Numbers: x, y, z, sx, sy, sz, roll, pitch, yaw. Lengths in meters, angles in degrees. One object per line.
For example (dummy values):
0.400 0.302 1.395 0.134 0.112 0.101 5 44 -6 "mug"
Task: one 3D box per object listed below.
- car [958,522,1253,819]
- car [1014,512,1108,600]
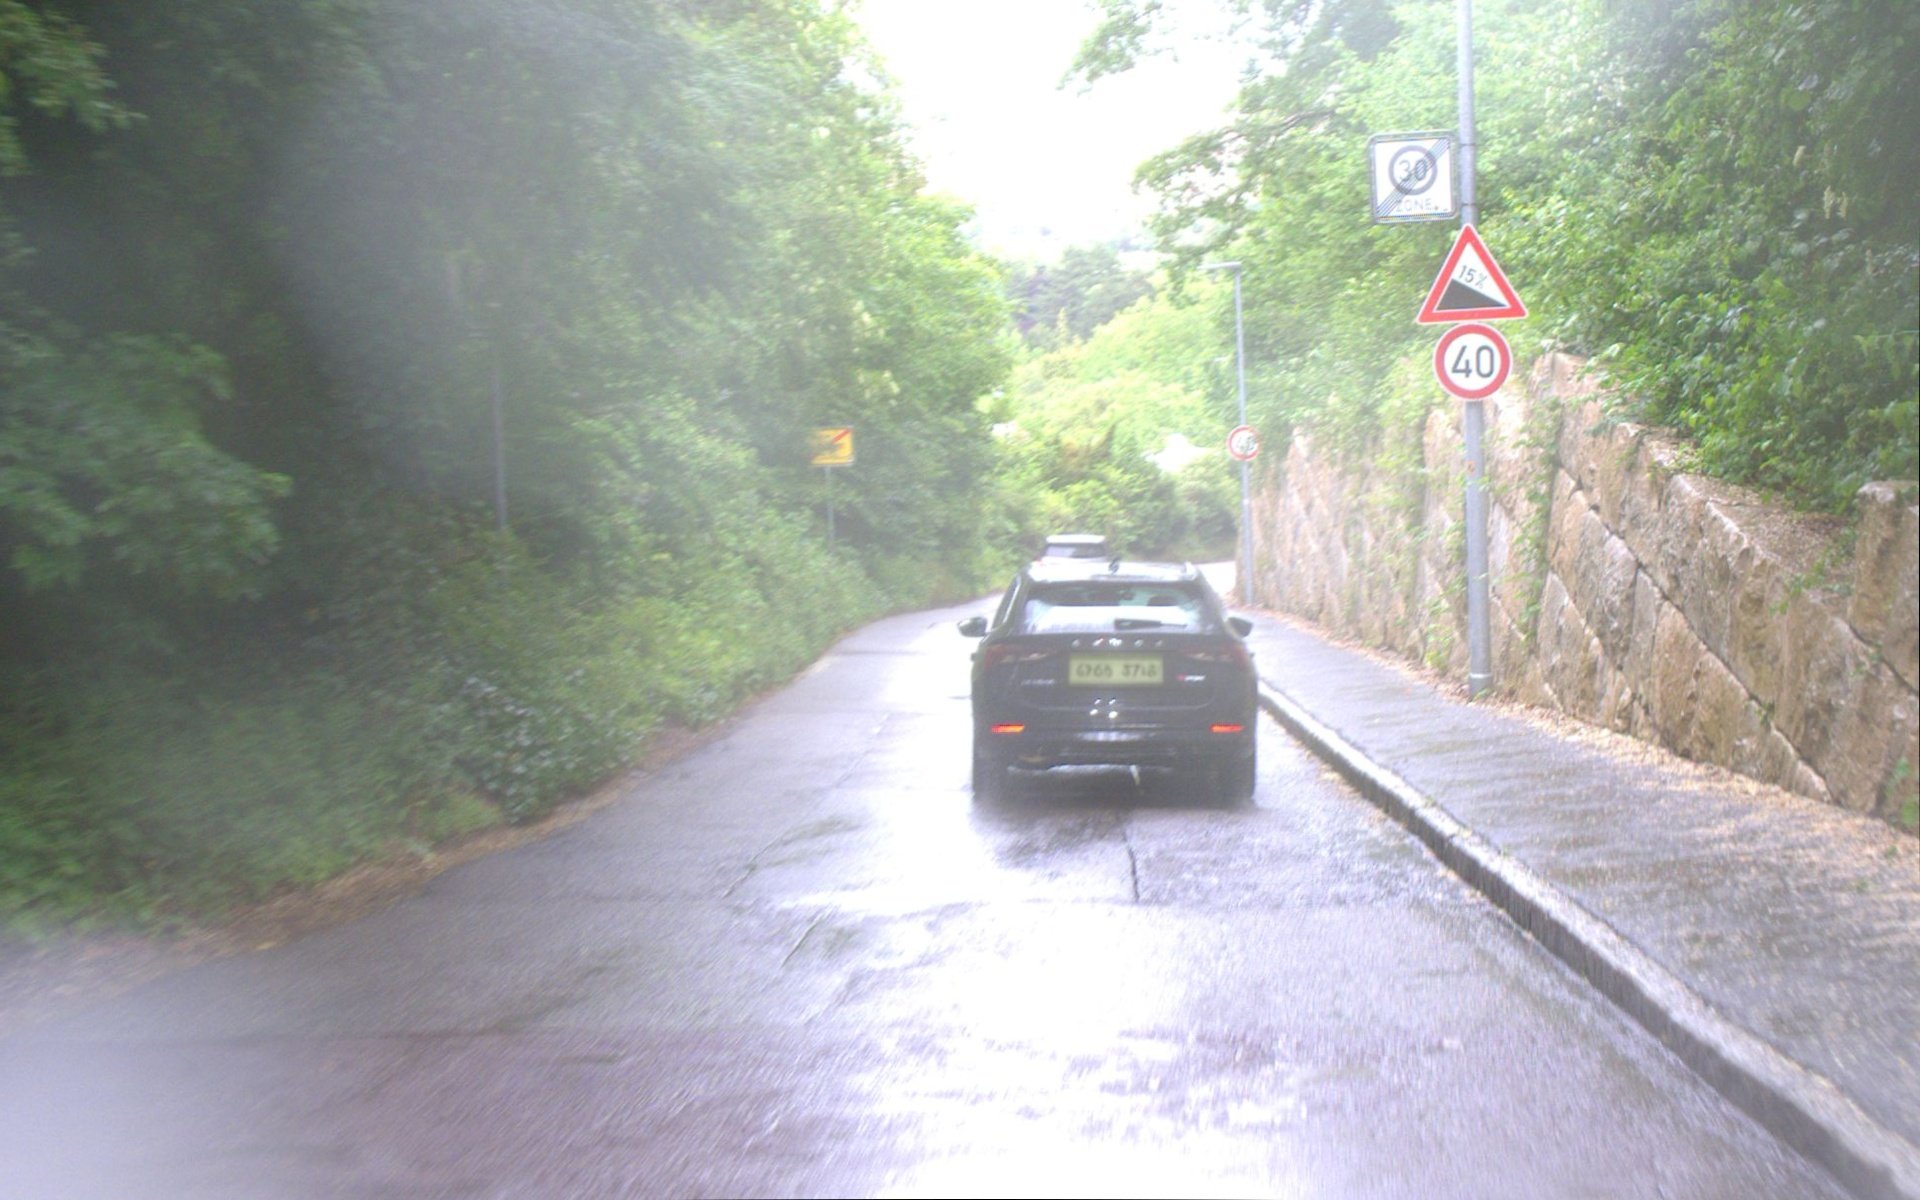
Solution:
0.862 0.373 22.196 1.699 1.445 4.001 -2 5 0 "car"
2.063 -0.932 70.964 1.863 1.737 4.000 1 1 1 "car"
